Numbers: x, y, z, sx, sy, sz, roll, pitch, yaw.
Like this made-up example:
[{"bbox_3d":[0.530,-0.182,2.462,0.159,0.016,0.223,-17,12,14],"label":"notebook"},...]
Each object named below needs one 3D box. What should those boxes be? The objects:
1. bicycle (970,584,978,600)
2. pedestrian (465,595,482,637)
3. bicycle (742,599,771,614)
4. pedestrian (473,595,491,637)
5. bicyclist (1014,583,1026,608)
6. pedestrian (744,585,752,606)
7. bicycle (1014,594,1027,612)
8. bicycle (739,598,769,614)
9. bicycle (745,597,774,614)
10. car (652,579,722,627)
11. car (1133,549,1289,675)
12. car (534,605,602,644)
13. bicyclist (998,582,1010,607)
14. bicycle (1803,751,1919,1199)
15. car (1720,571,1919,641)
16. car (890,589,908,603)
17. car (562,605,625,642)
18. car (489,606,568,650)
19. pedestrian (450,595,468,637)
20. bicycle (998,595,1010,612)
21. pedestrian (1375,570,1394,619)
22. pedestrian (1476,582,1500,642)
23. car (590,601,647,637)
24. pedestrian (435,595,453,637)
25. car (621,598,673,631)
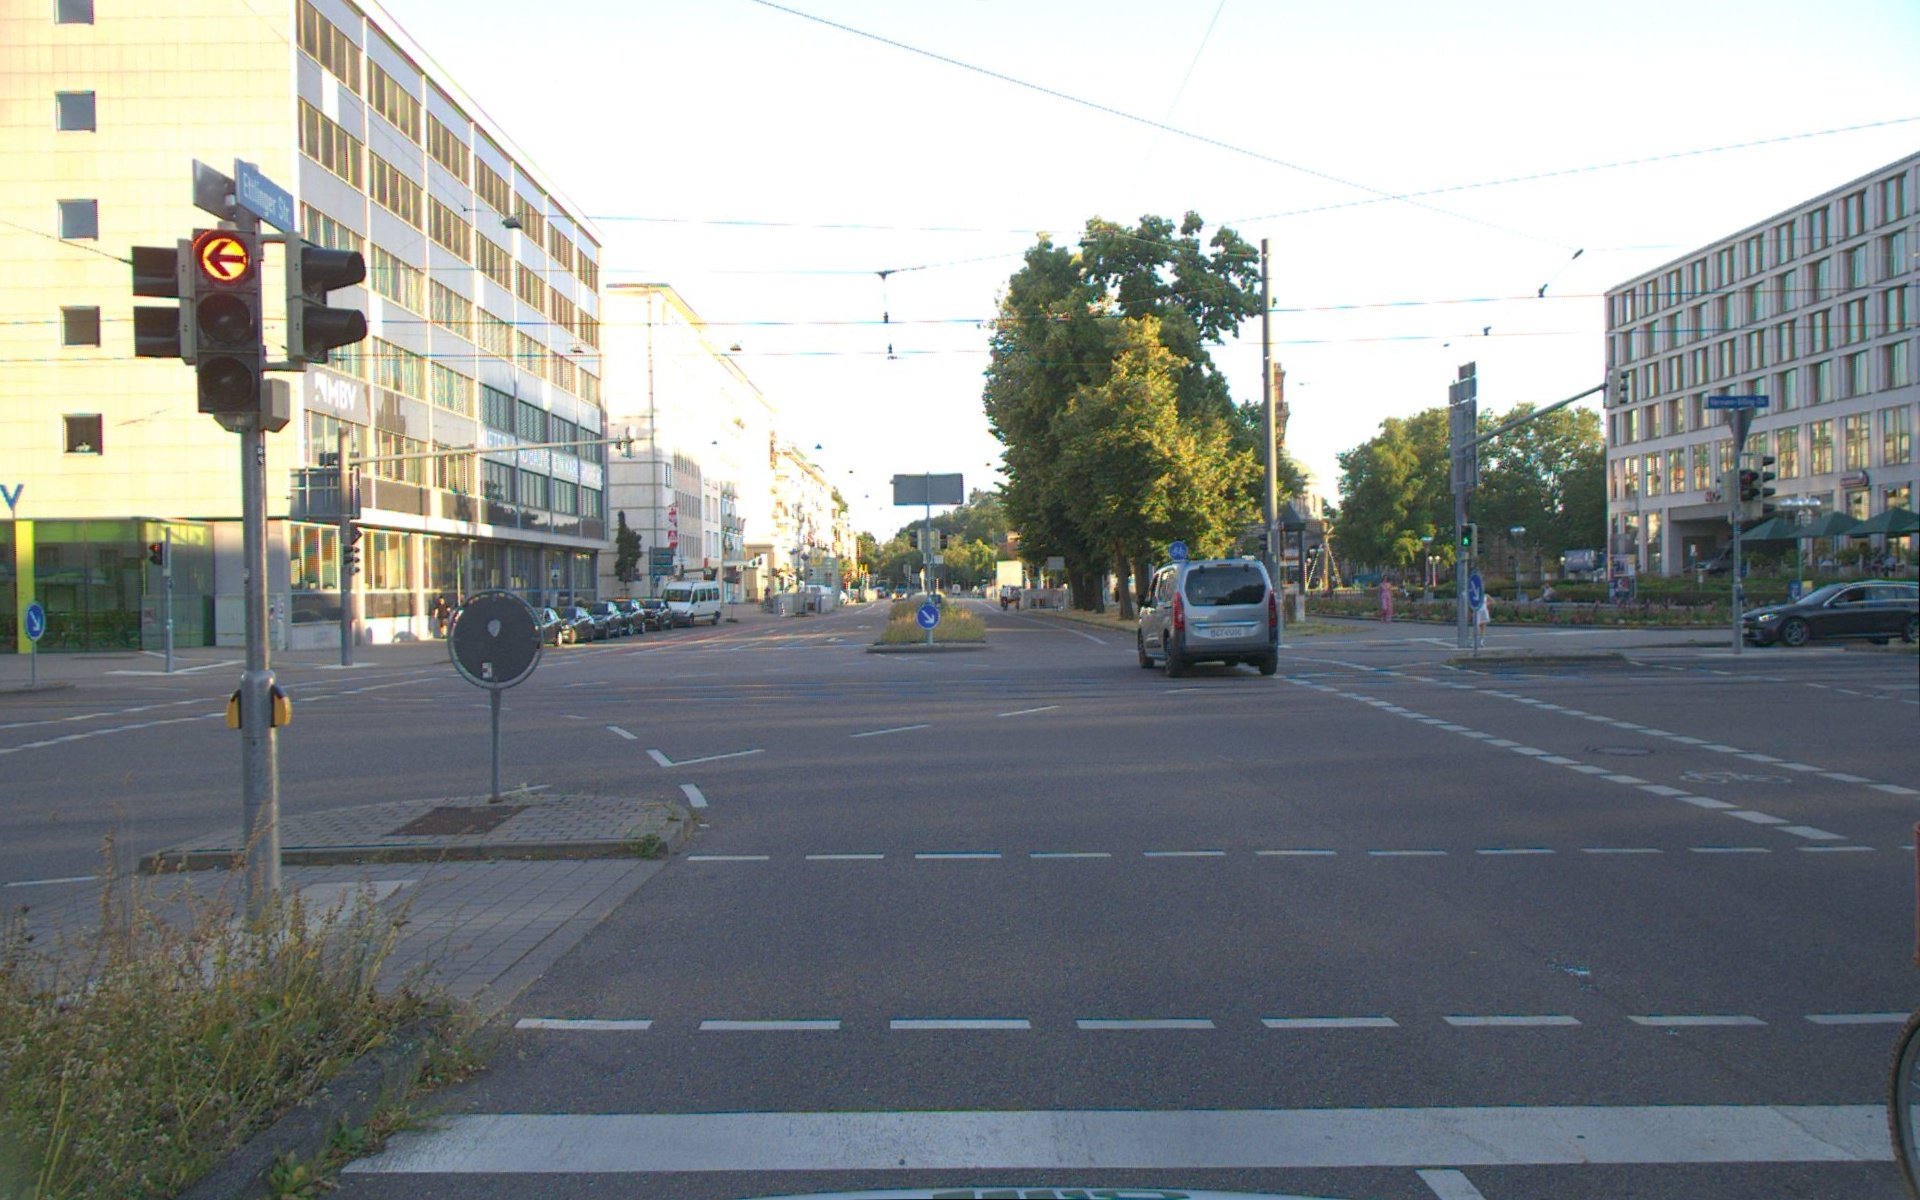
[{"bbox_3d":[1.761,-1.002,211.206,0.877,2.049,3.999,-1,0,-1],"label":"bicycle"},{"bbox_3d":[-20.095,0.642,68.337,0.490,1.708,0.500,-1,0,-1],"label":"pedestrian"},{"bbox_3d":[-15.578,0.486,126.802,2.161,1.131,0.689,-1,0,-2],"label":"bicycle"},{"bbox_3d":[-19.599,0.644,67.793,0.540,1.708,0.500,-1,0,-1],"label":"pedestrian"},{"bbox_3d":[4.114,-0.320,112.624,0.731,1.720,0.799,-1,0,-1],"label":"bicyclist"},{"bbox_3d":[-21.051,-0.486,164.490,0.666,2.049,0.545,-1,0,-1],"label":"pedestrian"},{"bbox_3d":[4.127,0.205,112.775,0.731,1.164,2.505,-1,0,-1],"label":"bicycle"},{"bbox_3d":[-15.587,0.454,125.283,2.161,1.131,0.618,-1,0,-3],"label":"bicycle"},{"bbox_3d":[-15.620,0.420,128.638,2.161,1.258,0.839,-1,0,-2],"label":"bicycle"},{"bbox_3d":[-14.942,0.135,90.997,1.958,2.521,5.873,-1,0,9],"label":"car"},{"bbox_3d":[4.147,0.179,28.015,1.727,1.921,4.498,-1,0,-3],"label":"car"},{"bbox_3d":[-16.117,0.984,68.173,1.882,1.489,3.999,-1,0,-1],"label":"car"},{"bbox_3d":[2.982,-0.385,112.336,0.731,1.692,0.873,-1,0,-1],"label":"bicyclist"},{"bbox_3d":[2.234,0.927,2.767,0.599,1.152,2.004,1,0,-1],"label":"bicycle"},{"bbox_3d":[21.168,0.119,39.932,4.724,1.542,2.000,-1,0,1],"label":"car"},{"bbox_3d":[-6.983,-0.463,188.504,1.825,1.546,4.000,-1,0,0],"label":"car"},{"bbox_3d":[-16.137,1.004,72.987,1.882,1.489,3.999,-1,0,-1],"label":"car"},{"bbox_3d":[-16.042,1.025,61.711,1.882,1.489,4.102,-1,0,-1],"label":"car"},{"bbox_3d":[-20.713,0.673,68.377,0.540,1.708,0.500,-1,0,-1],"label":"pedestrian"},{"bbox_3d":[2.995,0.238,112.634,0.731,1.164,2.505,-1,0,-1],"label":"bicycle"},{"bbox_3d":[14.685,-0.199,57.248,0.451,1.685,0.566,-1,0,-1],"label":"pedestrian"},{"bbox_3d":[13.877,0.313,43.488,0.480,1.566,0.408,-1,0,-1],"label":"pedestrian"},{"bbox_3d":[-16.133,0.873,78.290,1.882,1.595,3.999,-1,0,-1],"label":"car"},{"bbox_3d":[-21.087,0.663,67.577,0.540,1.708,0.500,-1,0,-1],"label":"pedestrian"},{"bbox_3d":[-15.959,0.724,84.522,1.882,1.595,3.999,-1,0,-1],"label":"car"}]
